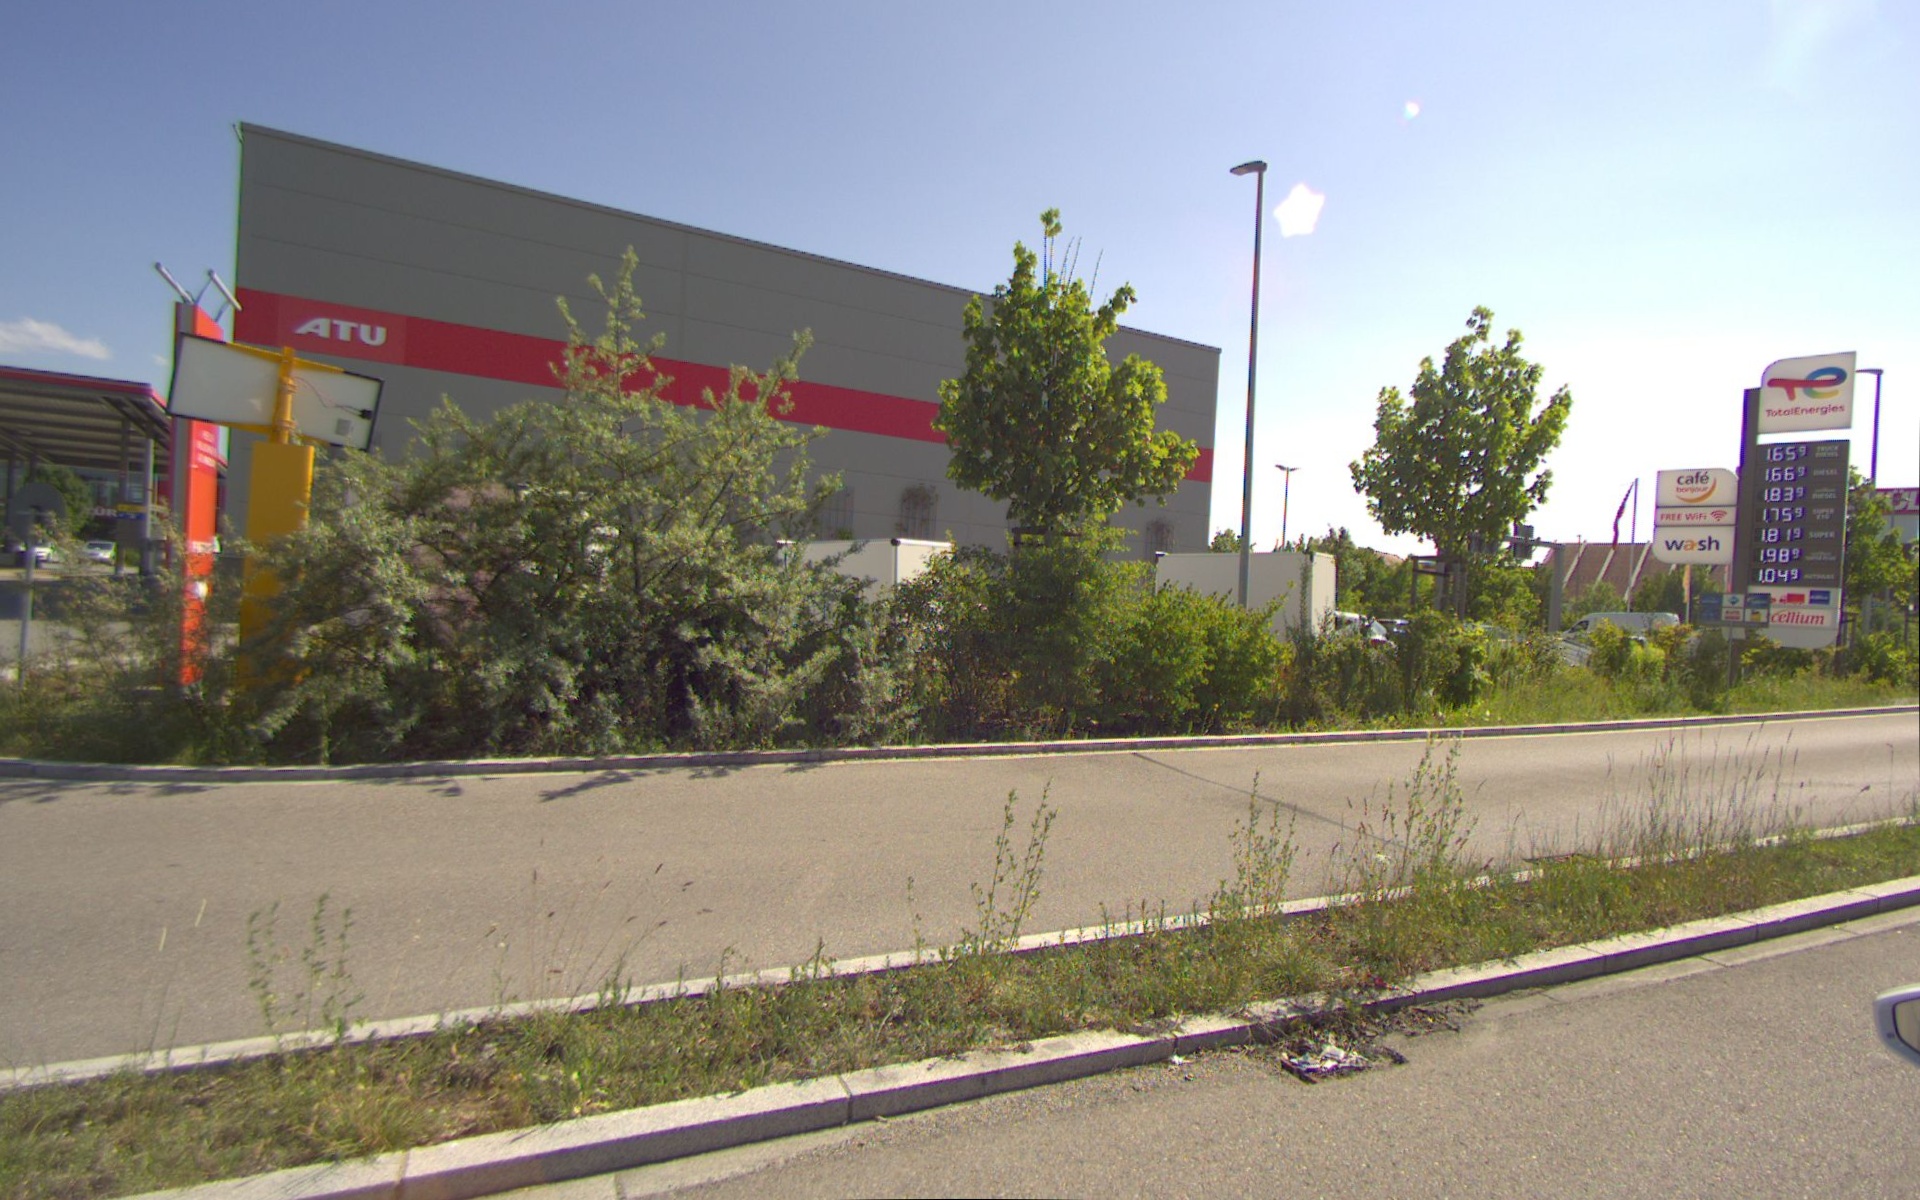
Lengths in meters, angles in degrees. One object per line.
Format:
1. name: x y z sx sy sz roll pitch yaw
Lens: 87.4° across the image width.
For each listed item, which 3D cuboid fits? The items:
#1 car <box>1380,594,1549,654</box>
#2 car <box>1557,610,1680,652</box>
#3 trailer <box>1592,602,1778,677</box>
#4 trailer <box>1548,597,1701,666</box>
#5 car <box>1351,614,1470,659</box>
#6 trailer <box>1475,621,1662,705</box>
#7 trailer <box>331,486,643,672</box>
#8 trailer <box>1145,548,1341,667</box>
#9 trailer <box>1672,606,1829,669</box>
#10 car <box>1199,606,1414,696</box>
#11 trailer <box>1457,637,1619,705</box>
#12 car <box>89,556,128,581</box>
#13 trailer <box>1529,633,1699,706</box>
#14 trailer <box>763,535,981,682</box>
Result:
1. car: 14.084 0.670 28.043 4.435 1.503 1.792 2 1 -25
2. car: 41.998 1.924 64.205 2.019 2.264 6.213 2 1 -34
3. trailer: 18.526 0.963 25.876 3.632 1.471 1.704 6 3 31
4. trailer: 19.649 0.891 29.894 3.632 1.795 1.803 3 1 31
5. car: 15.729 1.273 35.031 3.952 1.483 1.811 2 -1 -30
6. trailer: 13.102 1.300 21.706 3.148 1.503 1.539 4 2 45
7. trailer: -5.926 -0.300 12.638 3.147 2.040 1.998 3 1 26
8. trailer: 5.448 0.095 19.408 3.186 2.040 1.742 3 1 34
9. trailer: 24.620 1.127 31.442 3.632 1.795 1.803 1 0 31
10. car: 7.283 1.005 21.289 3.935 1.557 1.713 3 1 36
11. trailer: 11.825 1.410 20.597 2.730 1.100 1.316 3 1 35
12. car: -56.369 -2.105 66.520 1.584 1.530 3.565 2 1 -34
13. trailer: 14.627 1.505 22.549 1.378 1.340 2.878 2 1 -40
14. trailer: -1.373 0.077 15.569 2.694 2.040 1.992 3 1 38
